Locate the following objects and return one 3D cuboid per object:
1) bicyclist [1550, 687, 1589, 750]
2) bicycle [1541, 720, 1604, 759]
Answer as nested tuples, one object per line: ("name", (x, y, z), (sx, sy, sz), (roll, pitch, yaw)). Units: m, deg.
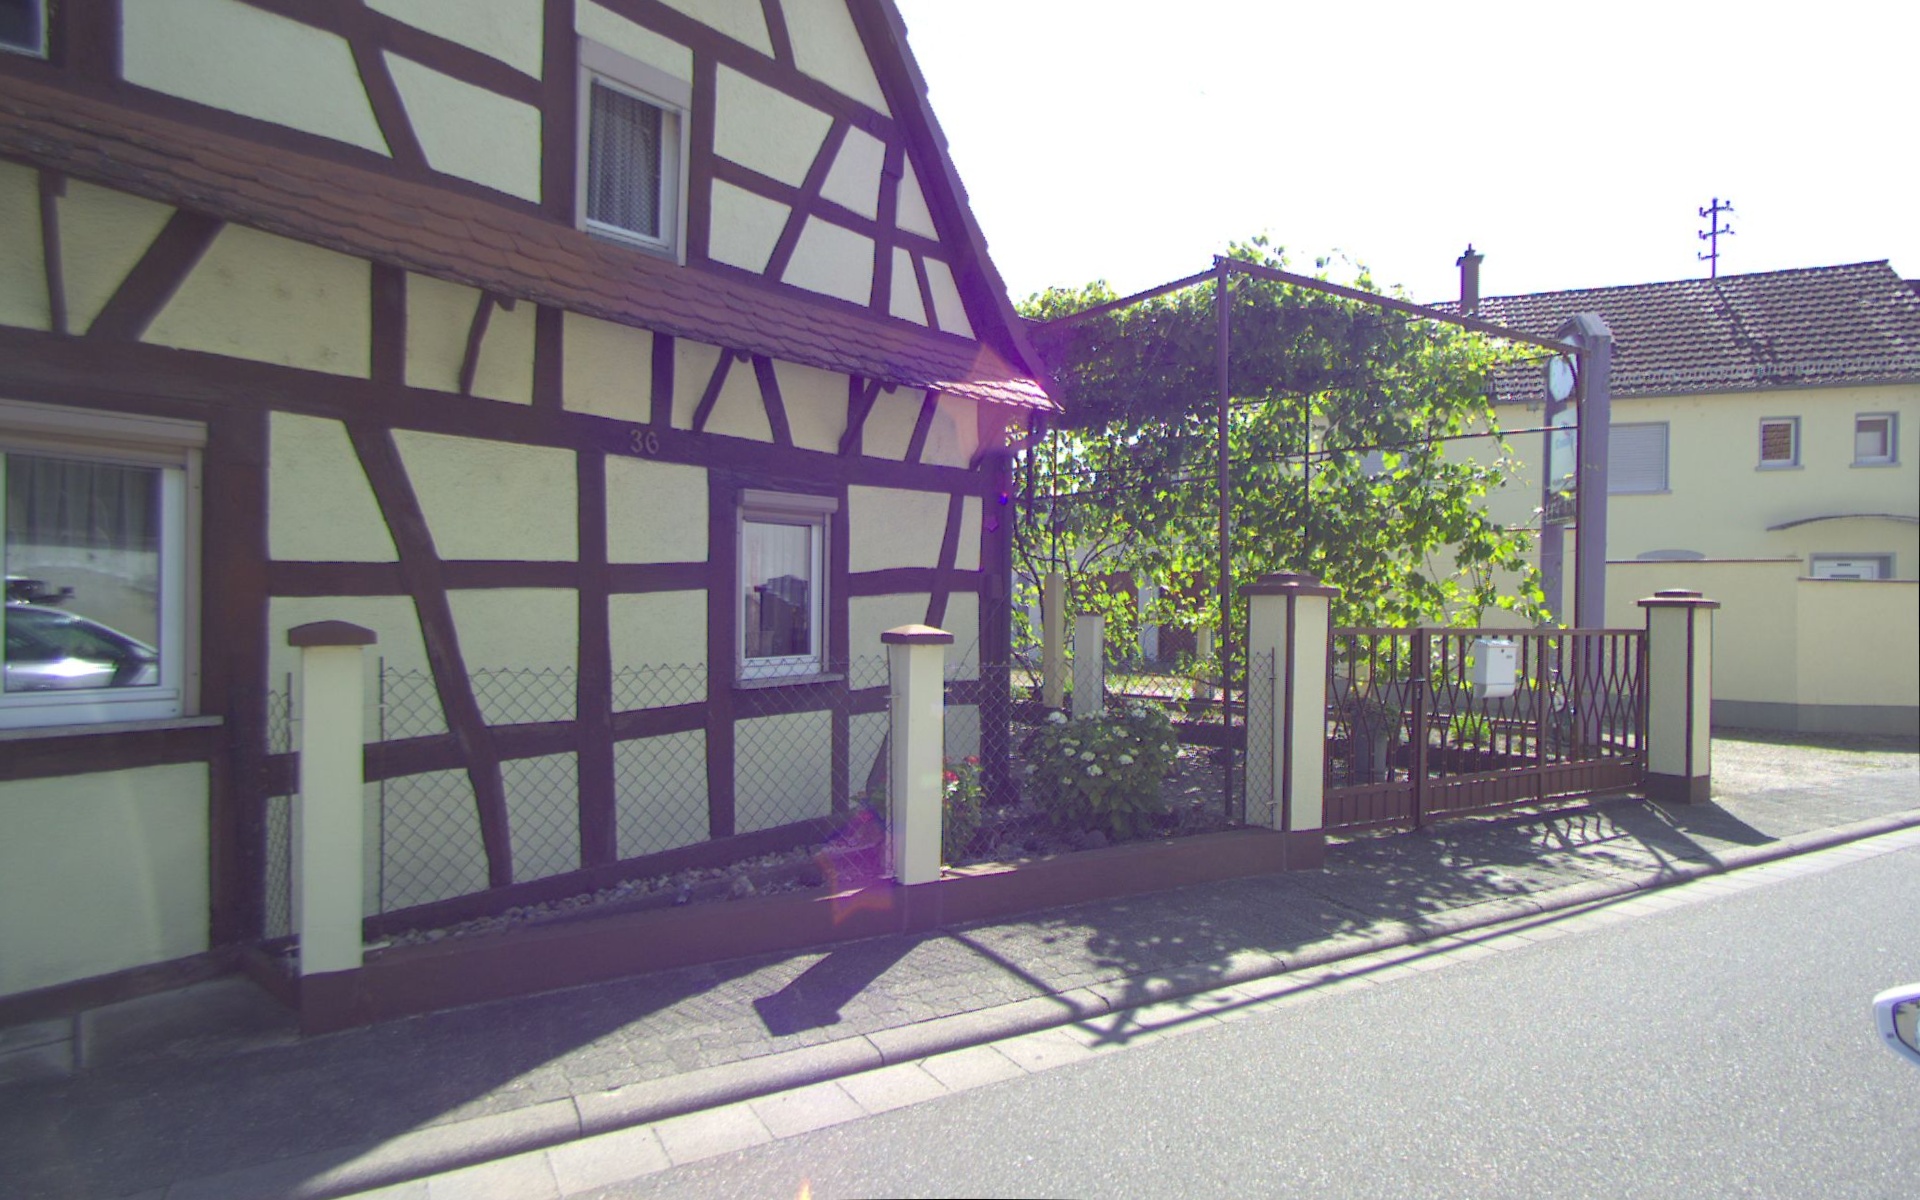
("bicyclist", (6.050, 1.175, 9.973), (0.215, 0.590, 0.246), (2, 0, -14))
("bicycle", (6.057, 1.375, 9.943), (0.216, 0.309, 0.534), (1, -1, -14))
